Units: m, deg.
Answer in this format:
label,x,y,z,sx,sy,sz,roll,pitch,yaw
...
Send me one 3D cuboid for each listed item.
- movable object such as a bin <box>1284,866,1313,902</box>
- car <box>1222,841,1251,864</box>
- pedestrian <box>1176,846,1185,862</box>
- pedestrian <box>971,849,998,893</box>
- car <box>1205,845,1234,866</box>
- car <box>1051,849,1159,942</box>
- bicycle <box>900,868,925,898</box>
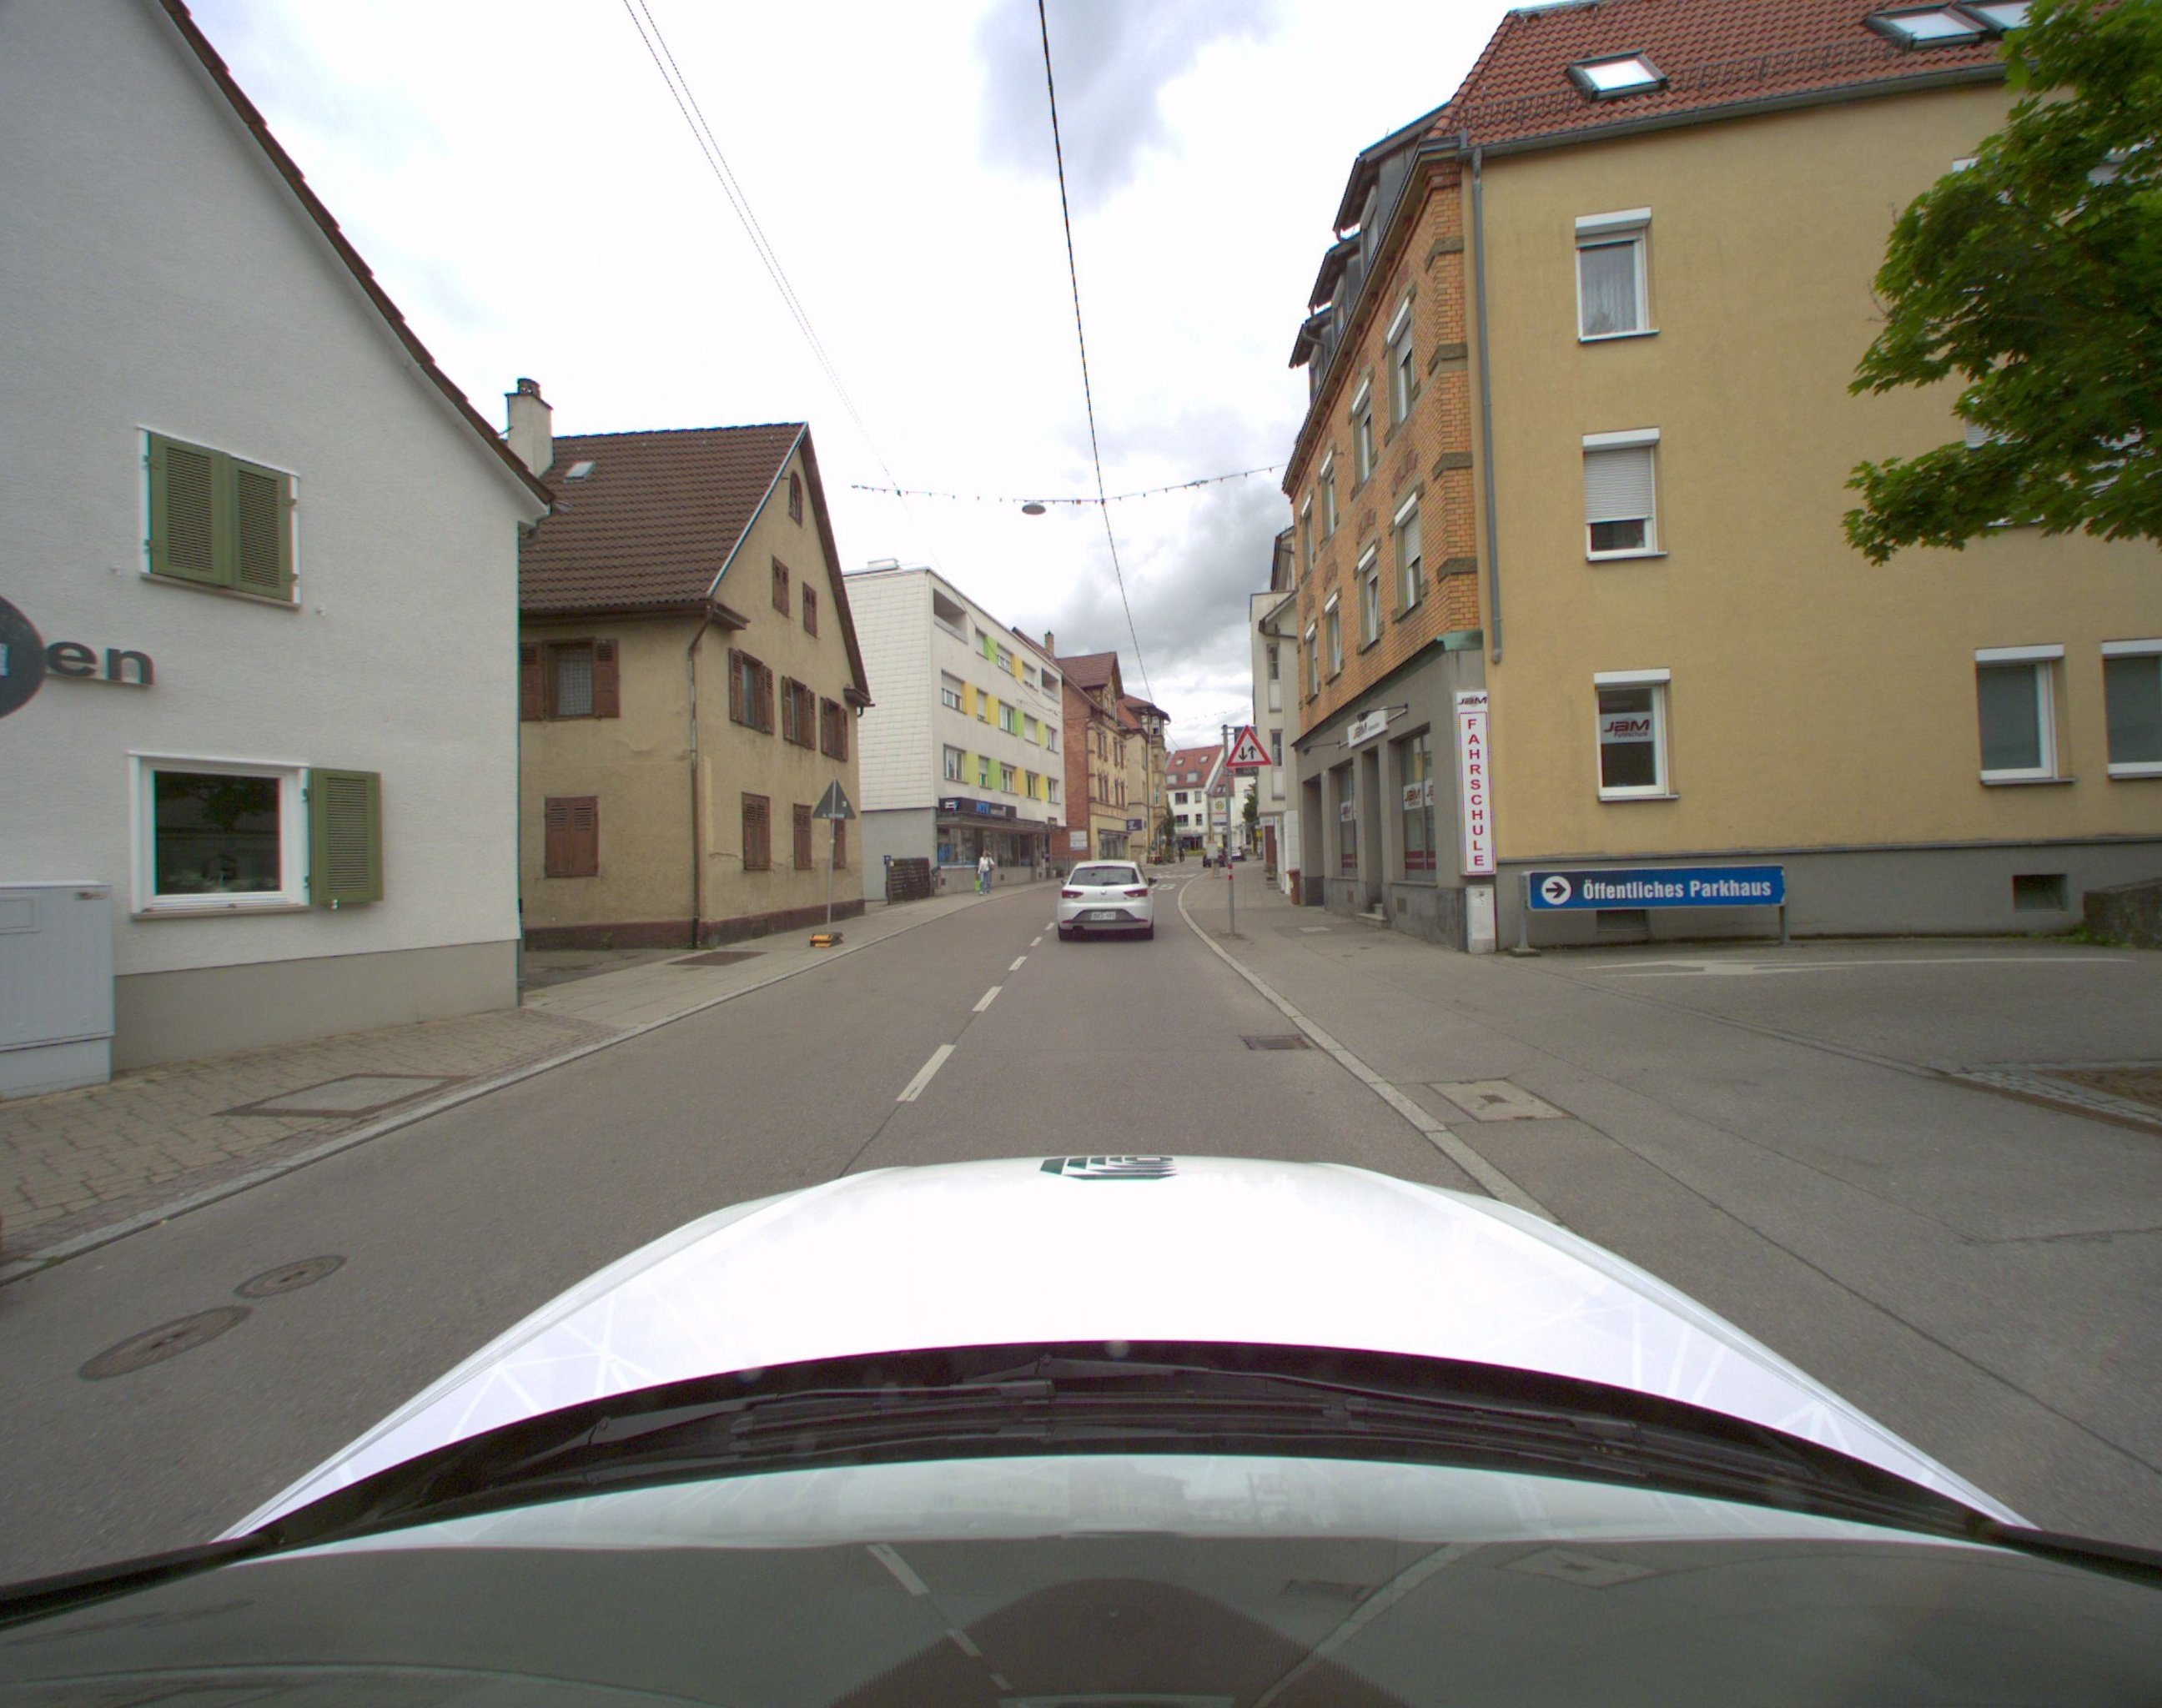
label,x,y,z,sx,sy,sz,roll,pitch,yaw
movable object such as a bin,5.719,0.785,21.441,0.616,0.921,0.583,-2,0,7
car,14.648,-0.194,76.659,1.976,2.013,4.021,-2,0,21
pedestrian,10.045,0.027,81.817,0.829,1.552,0.629,-2,0,8
pedestrian,-3.763,0.666,31.713,0.889,1.665,0.861,-2,0,0
car,10.885,0.068,63.812,1.798,1.480,3.887,-2,1,15
car,0.531,0.704,15.983,1.804,1.480,3.874,-2,1,3
bicycle,-6.305,1.066,30.516,0.321,1.053,1.752,-2,0,8
